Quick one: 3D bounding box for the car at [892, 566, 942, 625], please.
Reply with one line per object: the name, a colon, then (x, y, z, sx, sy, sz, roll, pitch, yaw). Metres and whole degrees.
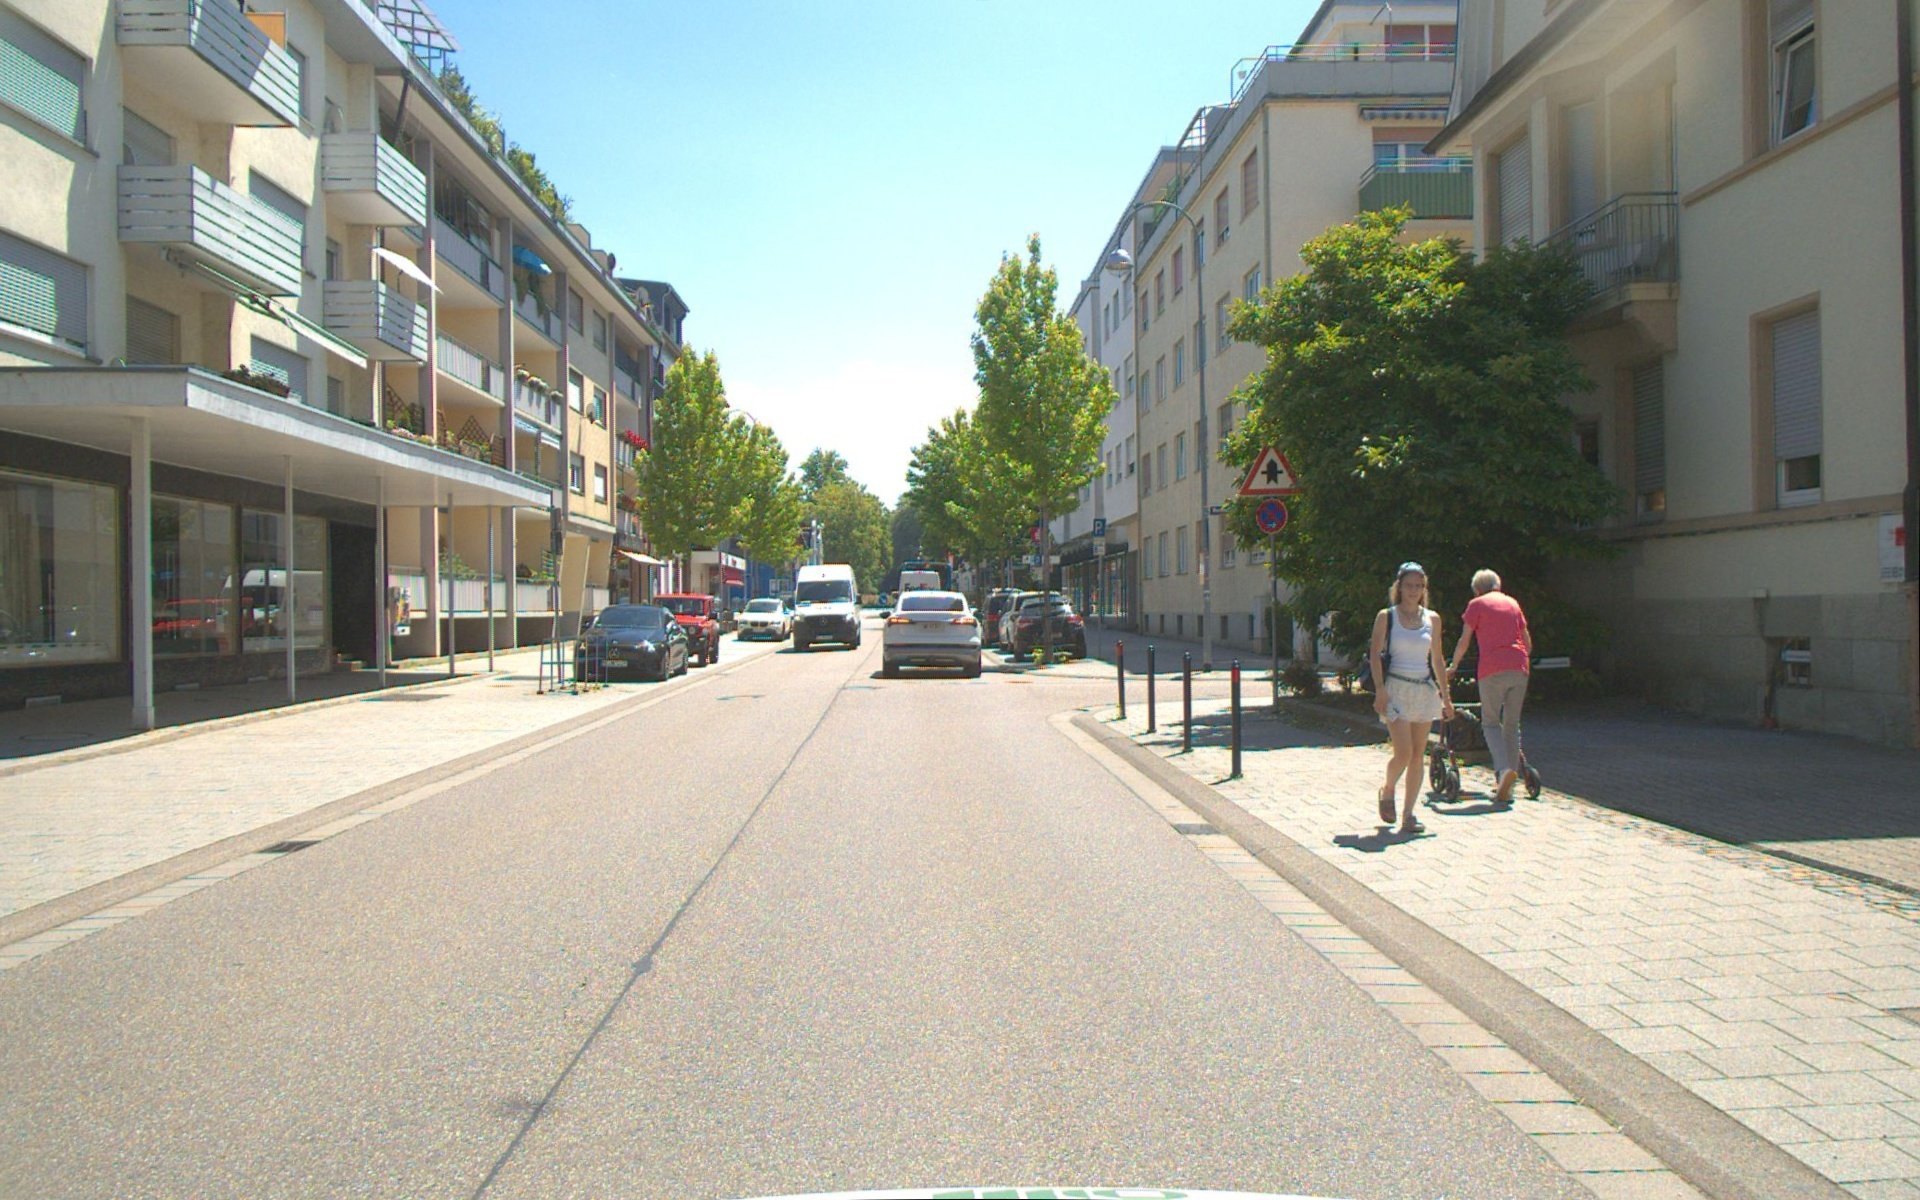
car: (-1.892, -0.196, 73.076, 2.112, 2.484, 5.281, 1, 0, -1)

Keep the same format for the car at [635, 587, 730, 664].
car: (-6.702, 0.583, 40.279, 1.717, 1.732, 4.099, 1, 0, -2)

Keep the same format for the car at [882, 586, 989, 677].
car: (-0.542, 0.577, 32.596, 1.954, 1.661, 3.998, 0, 0, -3)

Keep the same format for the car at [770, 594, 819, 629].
car: (-7.421, 0.509, 74.442, 1.716, 1.478, 4.400, 1, 0, 0)

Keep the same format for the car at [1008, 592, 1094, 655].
car: (2.219, 0.540, 41.298, 1.857, 1.463, 4.544, -1, 0, 0)

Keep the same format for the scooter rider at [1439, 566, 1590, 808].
scooter rider: (3.790, 0.575, 11.360, 0.702, 1.575, 0.770, -2, 0, -4)

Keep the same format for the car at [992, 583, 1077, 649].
car: (2.078, 0.434, 47.437, 1.859, 1.703, 4.687, -3, 0, -4)

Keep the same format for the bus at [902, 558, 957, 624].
bus: (-1.563, -0.431, 86.985, 2.606, 3.278, 7.301, 1, 0, 1)

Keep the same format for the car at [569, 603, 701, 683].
car: (-6.546, 0.821, 33.808, 1.858, 1.442, 5.045, 1, 0, -2)

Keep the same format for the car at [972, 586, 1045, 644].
car: (1.497, 0.443, 52.763, 1.819, 1.703, 4.533, -3, 0, -4)

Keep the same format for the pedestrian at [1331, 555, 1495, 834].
pedestrian: (2.849, 0.576, 10.468, 0.686, 1.655, 0.783, -4, 0, -3)

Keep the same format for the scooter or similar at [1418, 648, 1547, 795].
scooter or similar: (3.766, 0.865, 11.974, 0.650, 0.980, 0.753, -2, 0, -2)

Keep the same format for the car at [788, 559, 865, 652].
car: (-4.173, 0.145, 52.775, 1.996, 2.675, 7.104, -3, 0, -2)

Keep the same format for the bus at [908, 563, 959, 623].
bus: (-1.463, -0.358, 94.204, 2.606, 3.266, 7.452, 1, 0, 1)

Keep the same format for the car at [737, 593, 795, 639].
car: (-7.402, 0.590, 63.573, 1.717, 1.646, 4.400, 1, 0, -1)
